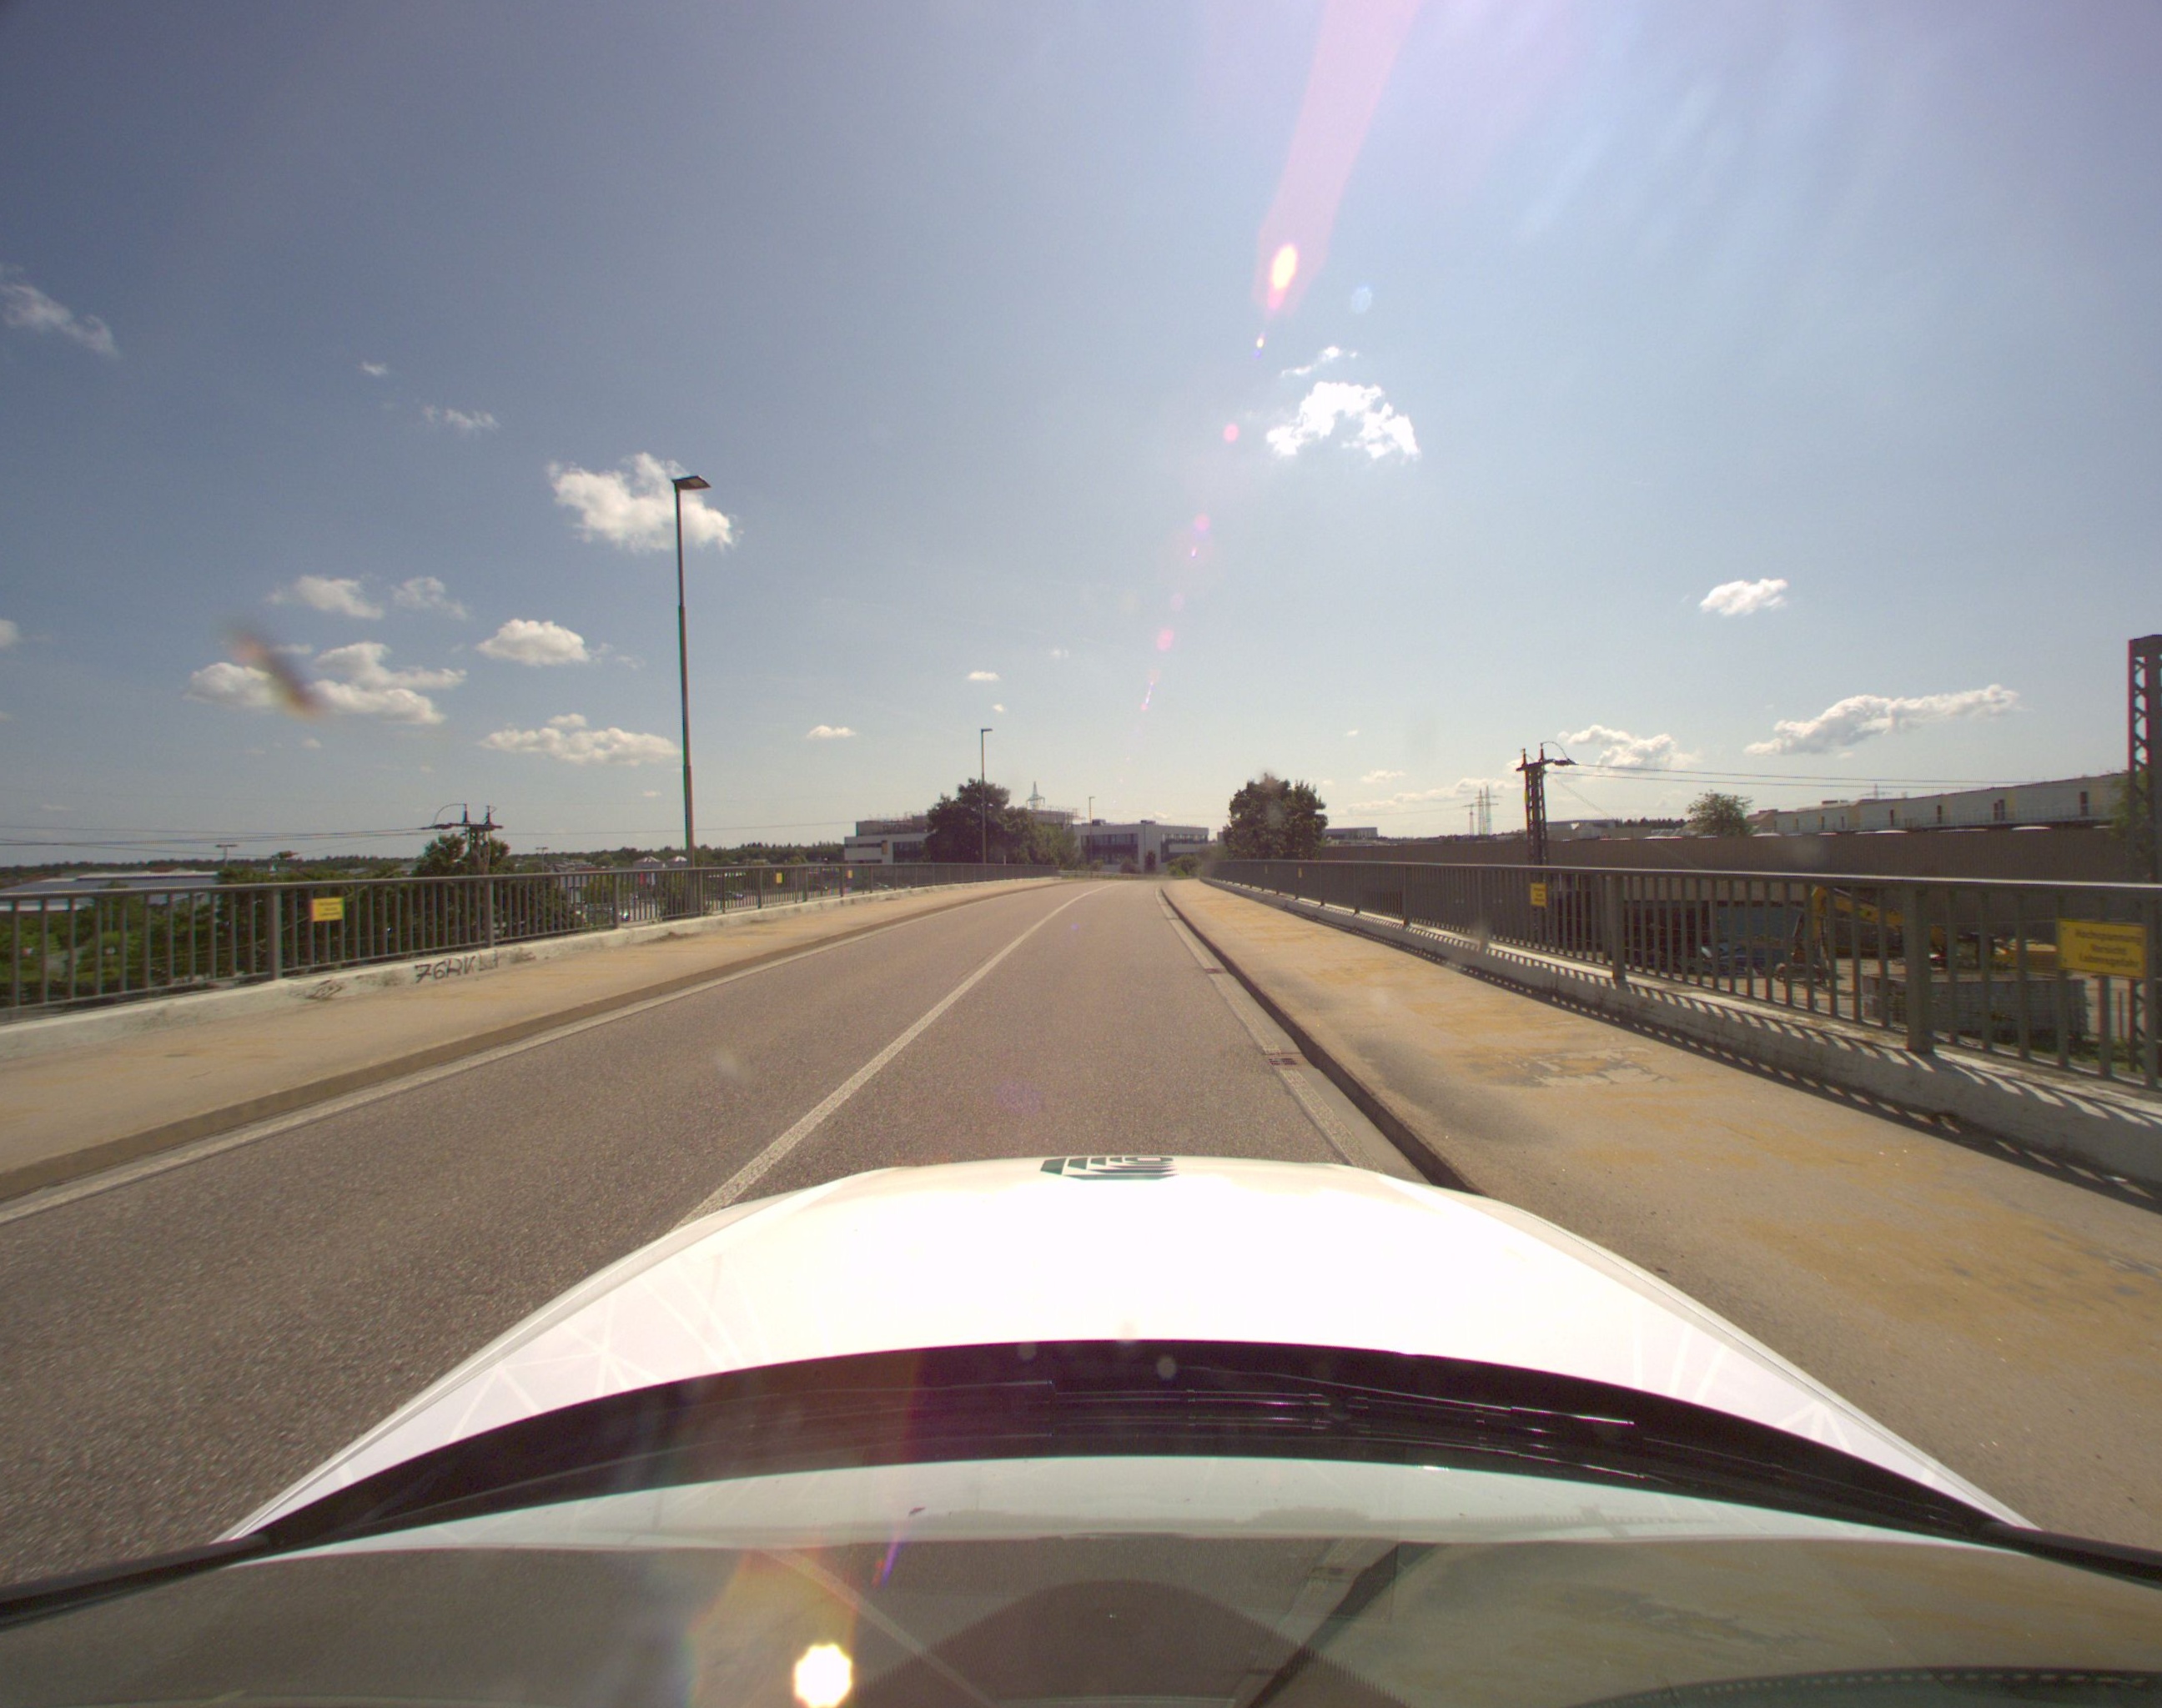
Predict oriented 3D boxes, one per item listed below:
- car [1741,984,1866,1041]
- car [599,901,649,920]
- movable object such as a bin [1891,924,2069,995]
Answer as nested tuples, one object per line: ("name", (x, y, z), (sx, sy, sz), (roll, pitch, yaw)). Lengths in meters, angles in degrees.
("car", (31.998, 6.976, 36.244), (1.984, 1.595, 4.249), (3, 0, 5))
("car", (-47.068, 5.798, 83.943), (3.979, 1.747, 1.905), (-3, -1, -4))
("movable object such as a bin", (51.172, 5.911, 46.650), (6.143, 3.289, 3.269), (-1, 1, 30))
